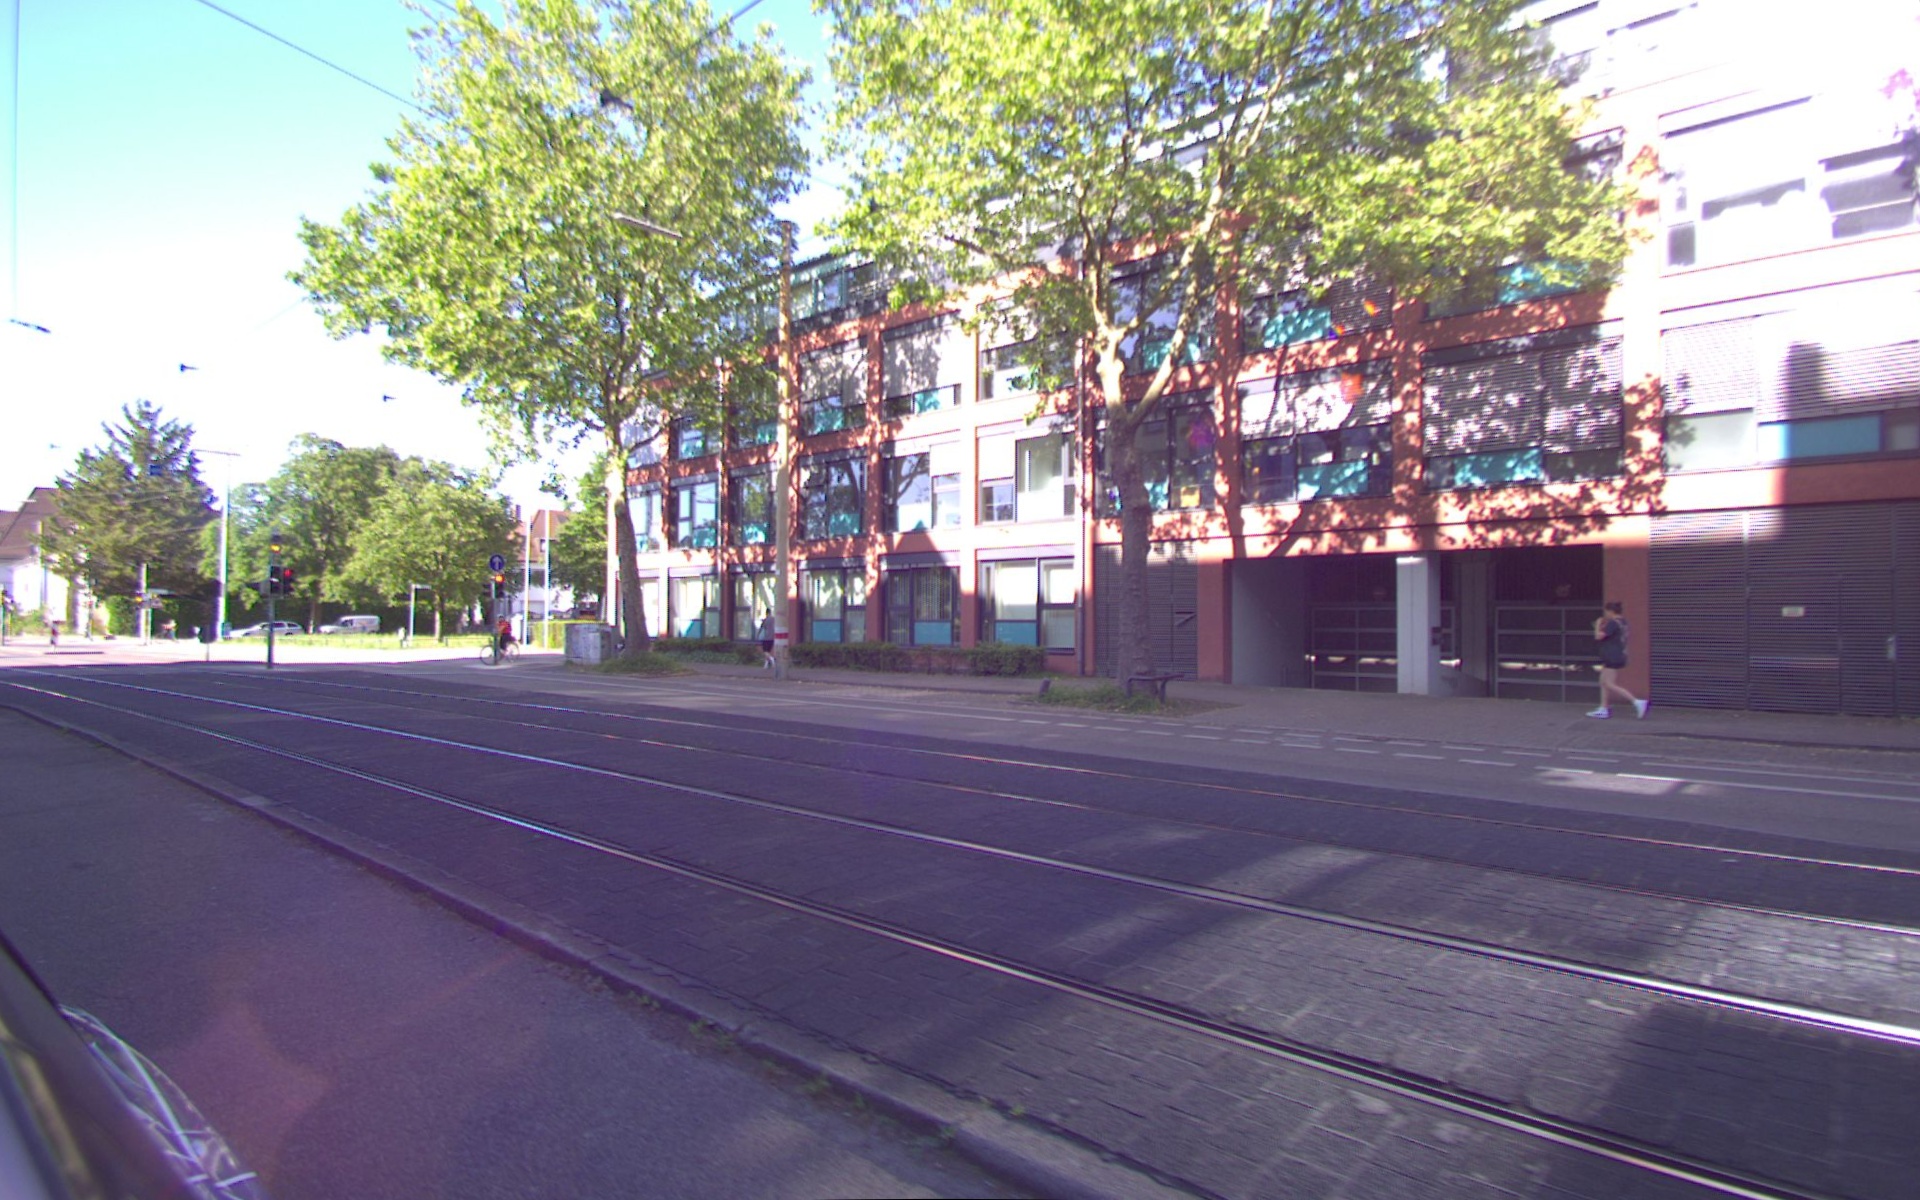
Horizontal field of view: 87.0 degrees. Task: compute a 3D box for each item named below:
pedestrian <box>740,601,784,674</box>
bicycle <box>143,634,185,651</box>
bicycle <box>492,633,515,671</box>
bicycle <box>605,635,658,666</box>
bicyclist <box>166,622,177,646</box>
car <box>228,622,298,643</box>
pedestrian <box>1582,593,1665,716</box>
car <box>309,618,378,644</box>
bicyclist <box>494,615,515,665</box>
[{"bbox_3d":[-5.623,1.058,28.777,0.779,2.029,0.903,-2,0,33],"label":"pedestrian"},{"bbox_3d":[-54.574,2.899,69.414,2.251,1.126,0.931,1,-2,-40],"label":"bicycle"},{"bbox_3d":[-15.961,1.795,35.412,0.623,1.137,2.042,-5,4,-23],"label":"bicycle"},{"bbox_3d":[-9.949,1.511,30.624,1.532,0.913,0.519,0,-1,19],"label":"bicycle"},{"bbox_3d":[-54.169,2.327,69.544,0.551,1.635,0.899,1,-2,-40],"label":"bicyclist"},{"bbox_3d":[-50.234,2.315,72.963,3.939,1.444,1.818,1,-2,-42],"label":"car"},{"bbox_3d":[9.699,0.773,14.800,0.900,1.731,0.619,-2,0,41],"label":"pedestrian"},{"bbox_3d":[-48.102,2.400,79.006,1.817,1.881,4.253,-1,0,44],"label":"car"},{"bbox_3d":[-15.947,1.394,35.445,0.596,1.705,0.935,-2,0,-23],"label":"bicyclist"}]
